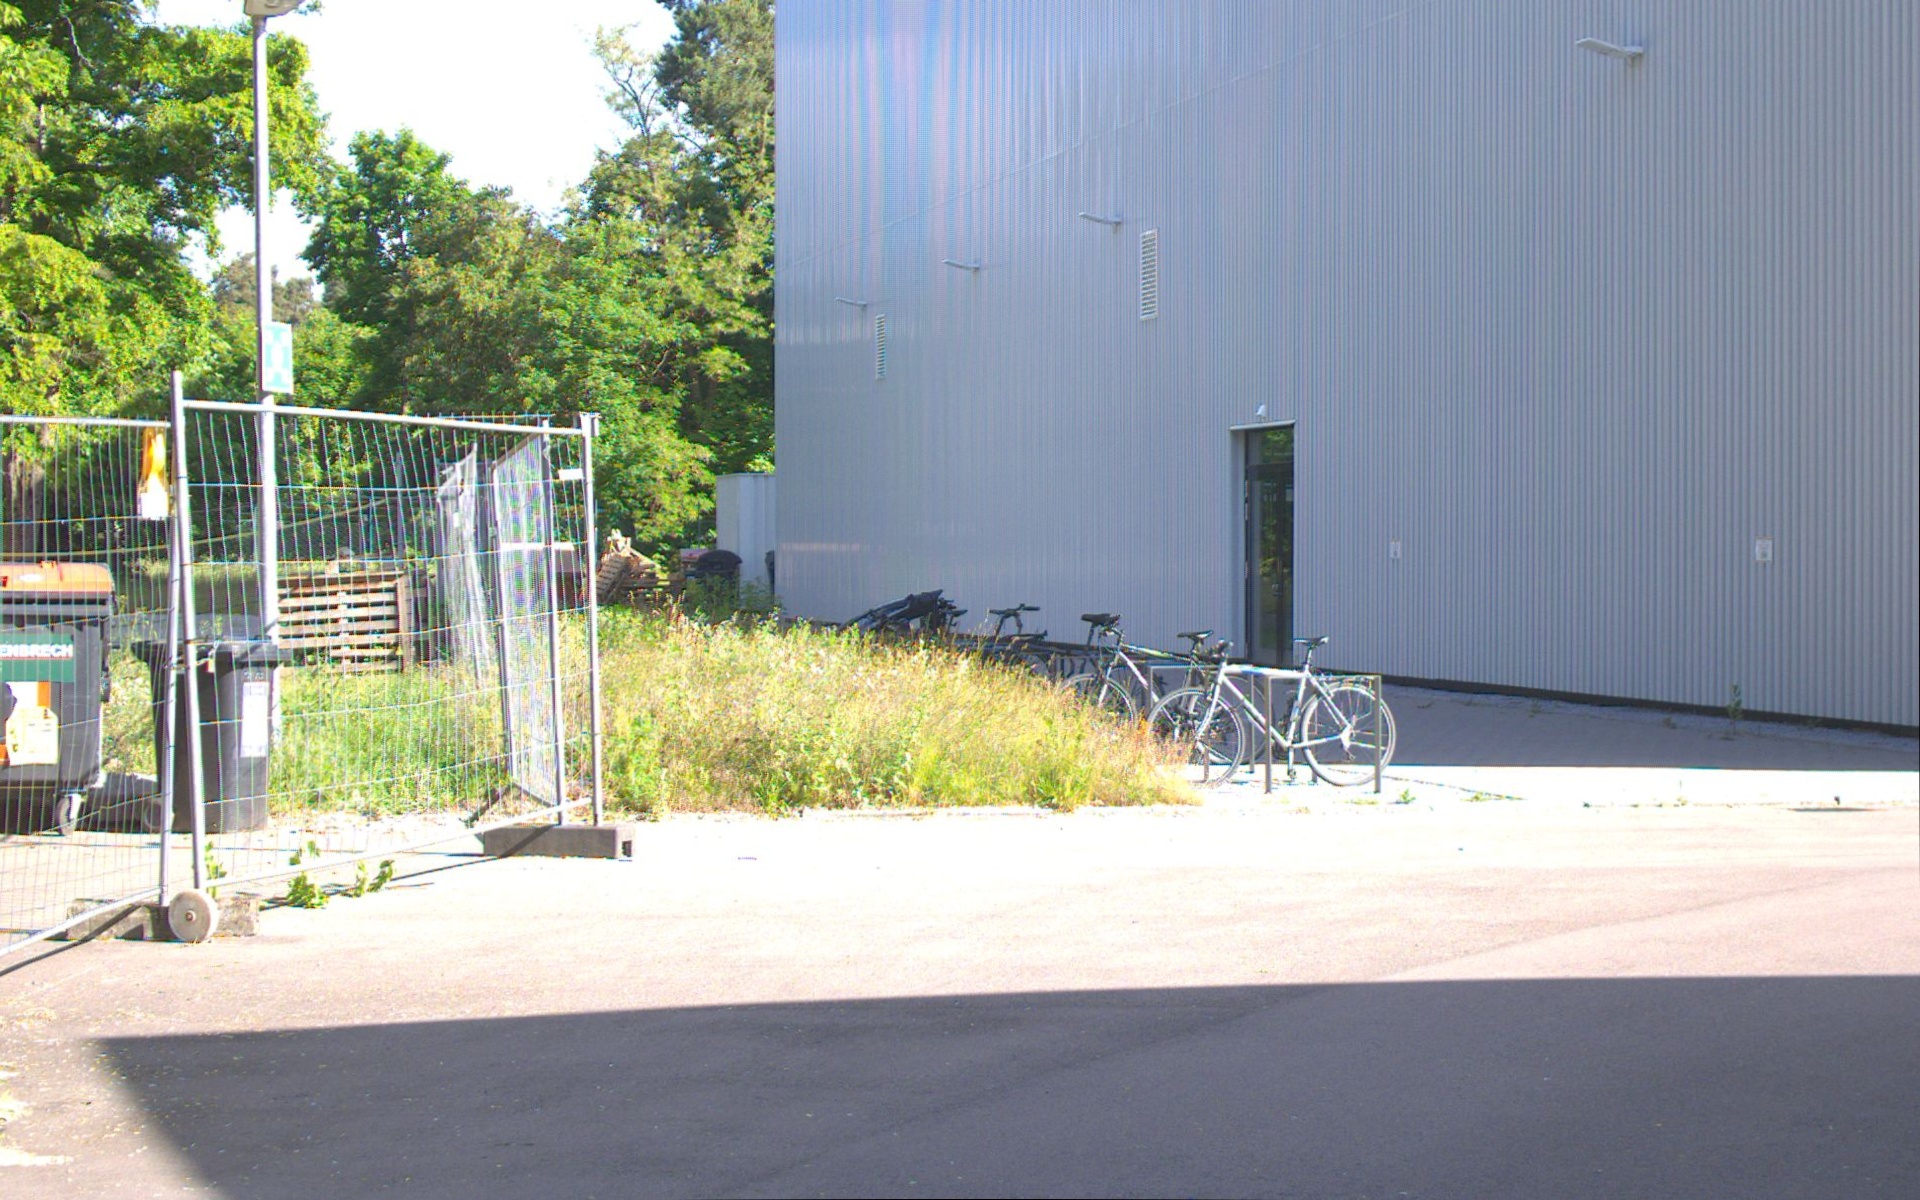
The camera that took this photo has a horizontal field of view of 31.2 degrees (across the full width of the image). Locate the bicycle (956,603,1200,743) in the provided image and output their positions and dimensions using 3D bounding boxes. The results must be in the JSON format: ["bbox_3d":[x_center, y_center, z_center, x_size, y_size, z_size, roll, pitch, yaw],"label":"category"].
[{"bbox_3d":[0.952,0.578,27.720,1.887,1.091,0.526,0,0,-15],"label":"bicycle"}]

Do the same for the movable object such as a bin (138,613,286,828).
[{"bbox_3d":[-3.957,0.625,18.232,0.736,1.094,0.819,0,1,-10],"label":"movable object such as a bin"}]

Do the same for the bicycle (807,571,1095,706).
[{"bbox_3d":[-0.104,0.359,33.252,2.629,1.262,1.141,0,1,-10],"label":"bicycle"}]

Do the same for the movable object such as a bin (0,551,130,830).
[{"bbox_3d":[-5.043,0.462,18.101,1.244,1.439,0.703,0,1,-20],"label":"movable object such as a bin"}]

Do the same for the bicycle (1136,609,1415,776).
[{"bbox_3d":[2.087,0.597,22.721,1.799,1.058,0.459,0,1,-19],"label":"bicycle"}]

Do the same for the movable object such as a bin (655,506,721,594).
[{"bbox_3d":[-6.271,-1.148,79.159,1.418,2.007,1.125,0,1,-10],"label":"movable object such as a bin"}]

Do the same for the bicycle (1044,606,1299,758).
[{"bbox_3d":[1.552,0.593,25.238,1.791,1.079,0.525,0,1,-12],"label":"bicycle"}]
